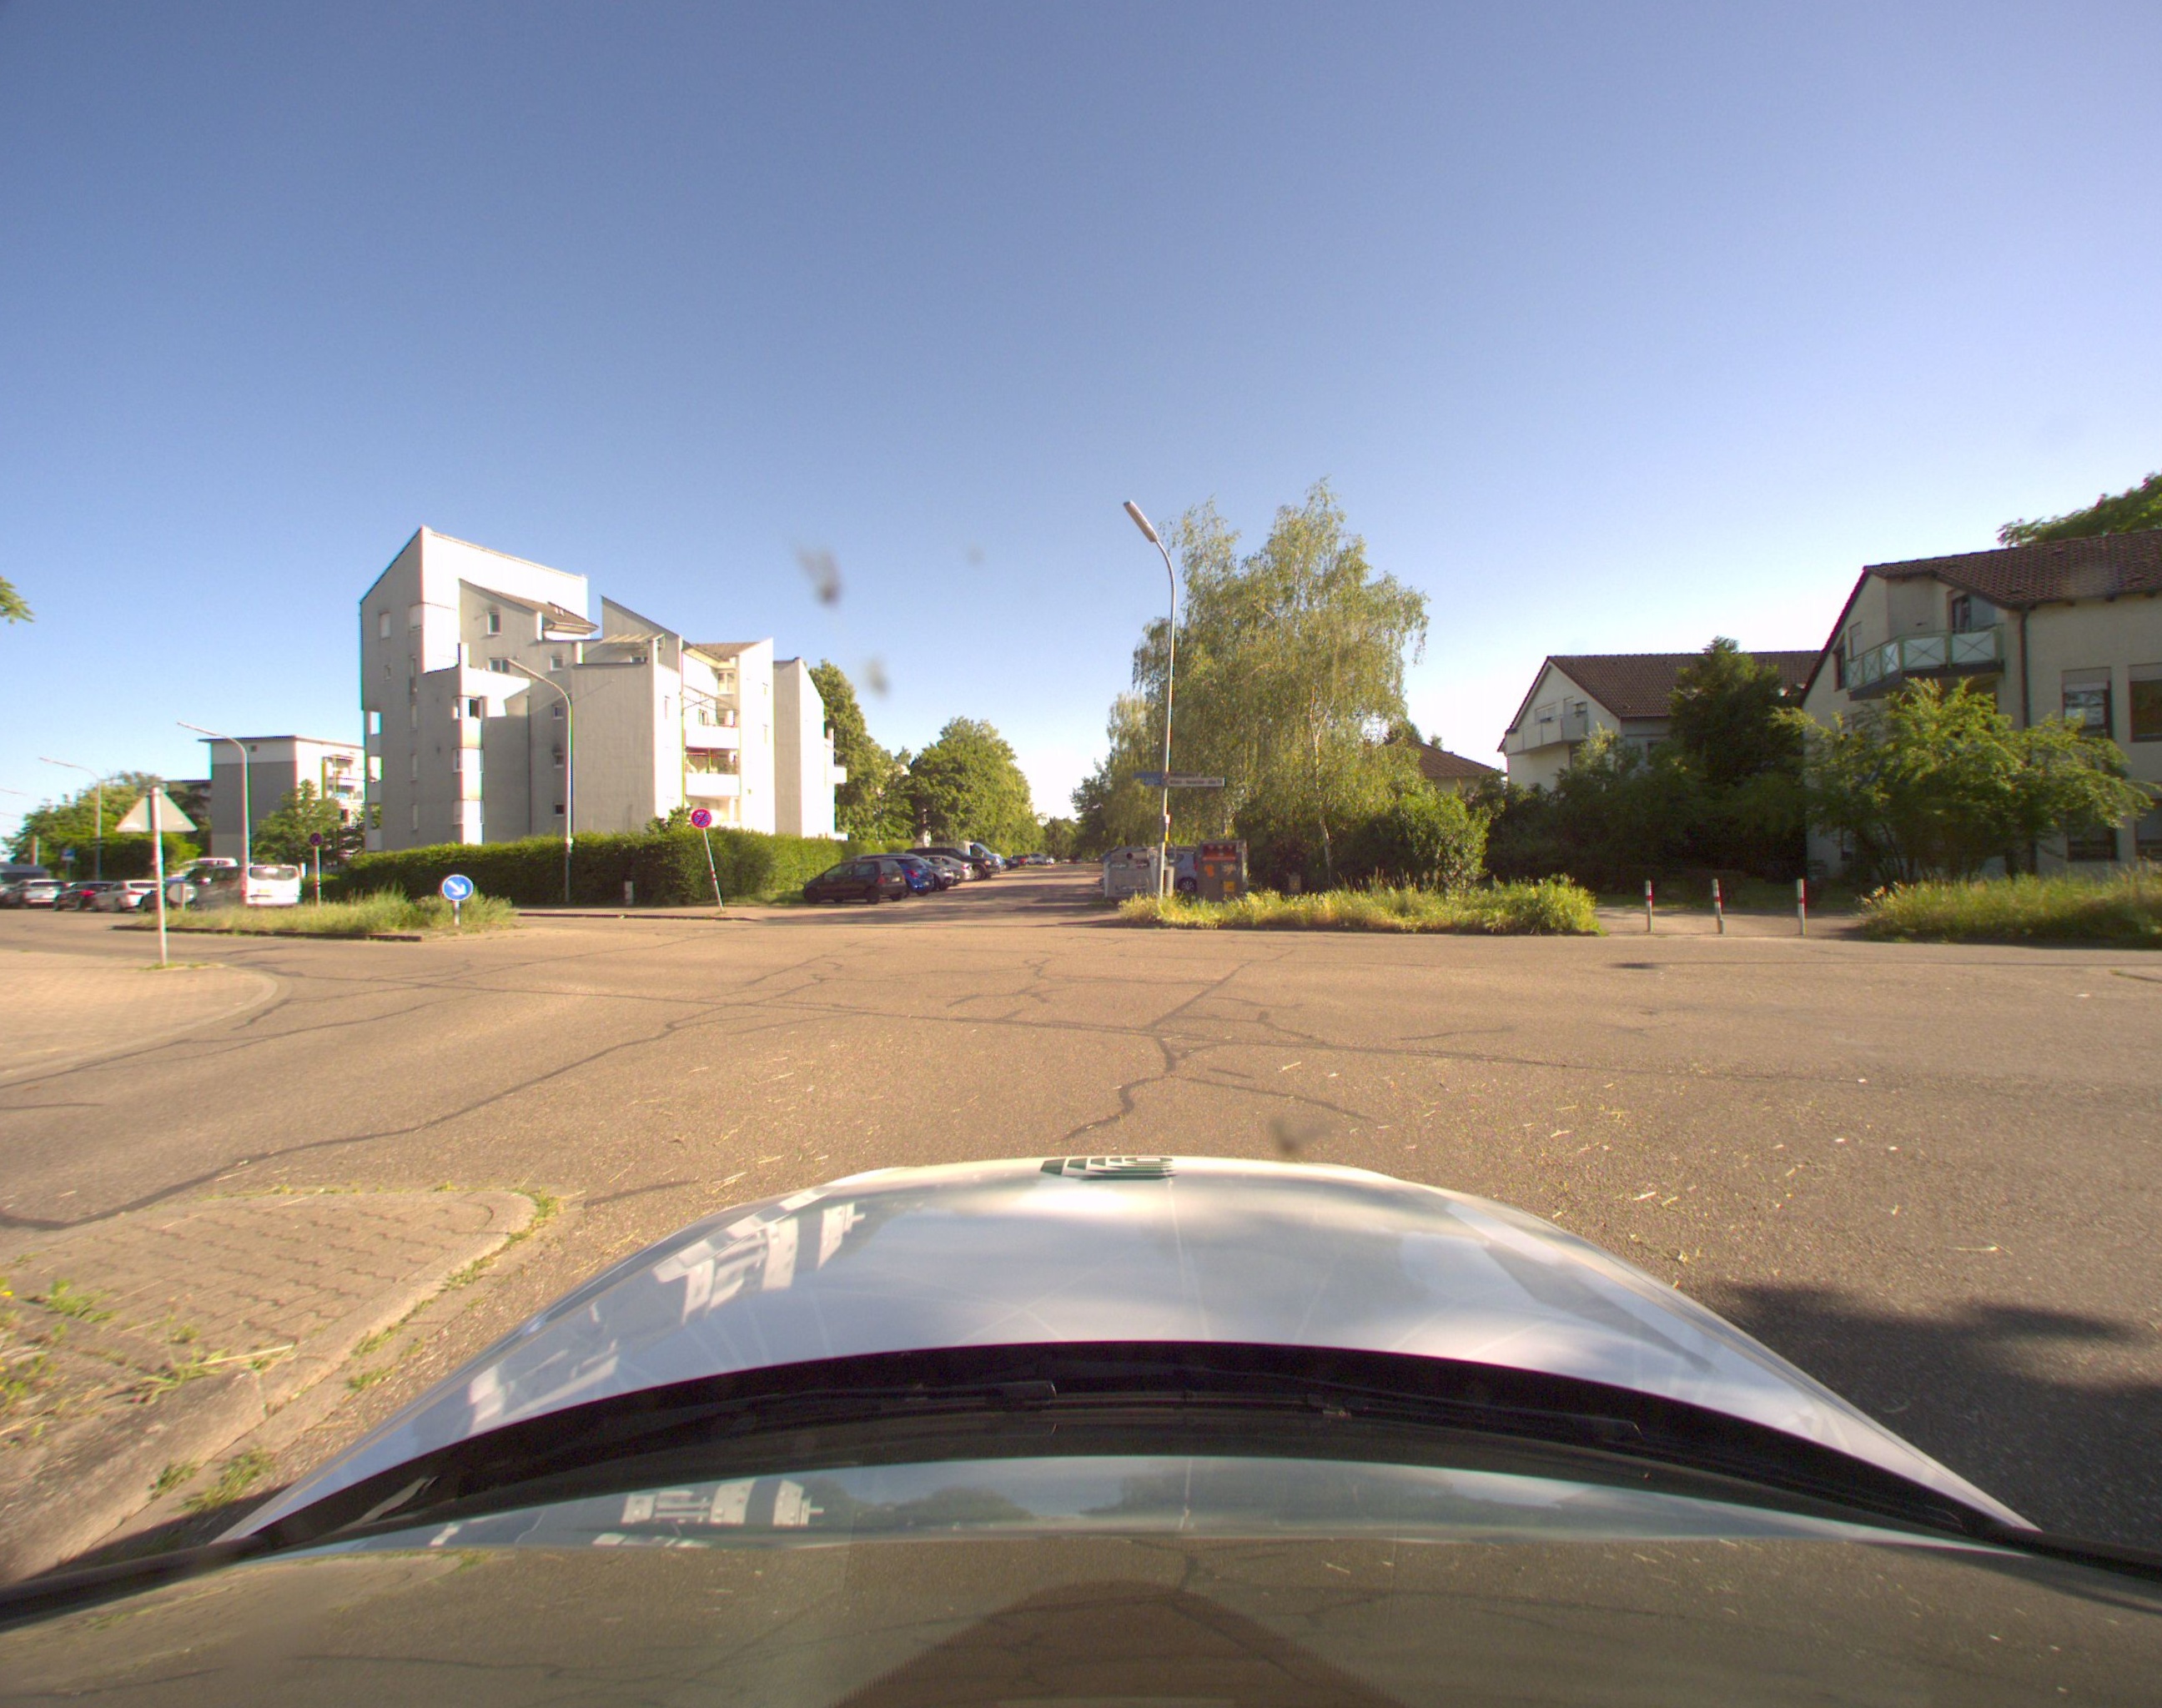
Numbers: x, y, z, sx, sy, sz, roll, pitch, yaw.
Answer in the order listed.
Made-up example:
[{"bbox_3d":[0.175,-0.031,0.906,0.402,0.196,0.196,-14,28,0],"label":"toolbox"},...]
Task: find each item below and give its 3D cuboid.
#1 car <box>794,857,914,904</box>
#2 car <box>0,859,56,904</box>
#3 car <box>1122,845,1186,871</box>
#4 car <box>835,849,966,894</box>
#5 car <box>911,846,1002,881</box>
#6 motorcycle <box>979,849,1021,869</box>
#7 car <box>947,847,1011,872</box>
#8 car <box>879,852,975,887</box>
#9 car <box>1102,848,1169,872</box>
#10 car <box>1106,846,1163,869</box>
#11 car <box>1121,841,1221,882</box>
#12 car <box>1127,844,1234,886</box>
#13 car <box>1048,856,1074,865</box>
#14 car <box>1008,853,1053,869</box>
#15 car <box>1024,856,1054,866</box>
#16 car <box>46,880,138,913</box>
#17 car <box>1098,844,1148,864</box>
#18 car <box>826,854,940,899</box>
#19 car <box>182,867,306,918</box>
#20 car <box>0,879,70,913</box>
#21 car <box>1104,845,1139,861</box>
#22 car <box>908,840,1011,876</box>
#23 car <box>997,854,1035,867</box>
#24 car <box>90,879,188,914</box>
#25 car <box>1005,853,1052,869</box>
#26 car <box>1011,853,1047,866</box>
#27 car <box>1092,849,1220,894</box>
[{"bbox_3d":[-7.677,0.887,27.606,3.494,1.466,1.712,-1,1,18],"label":"car"},{"bbox_3d":[-61.784,1.609,47.129,5.781,2.486,2.124,-2,-2,29],"label":"car"},{"bbox_3d":[4.661,0.265,51.937,3.968,1.585,1.800,-1,-1,4],"label":"car"},{"bbox_3d":[-7.497,0.711,34.056,4.965,1.654,1.788,-2,0,7],"label":"car"},{"bbox_3d":[-6.701,0.515,44.035,4.499,1.771,1.850,-1,0,6],"label":"car"},{"bbox_3d":[-6.508,0.398,65.468,3.178,1.596,0.924,-1,0,3],"label":"motorcycle"},{"bbox_3d":[-7.661,0.391,61.309,4.504,1.771,1.848,-1,0,2],"label":"car"},{"bbox_3d":[-7.158,0.714,38.112,4.131,1.455,1.619,-2,0,-1],"label":"car"},{"bbox_3d":[3.288,0.361,48.885,3.968,1.401,1.800,-1,0,4],"label":"car"},{"bbox_3d":[3.800,0.261,57.626,3.968,1.585,1.800,-1,-1,4],"label":"car"},{"bbox_3d":[3.923,0.300,35.781,4.097,1.706,1.788,-1,1,-5],"label":"car"},{"bbox_3d":[3.949,0.422,32.817,4.044,1.603,1.789,-1,1,-4],"label":"car"},{"bbox_3d":[-2.971,0.915,120.943,3.632,1.212,1.847,-1,0,1],"label":"car"},{"bbox_3d":[-4.552,0.597,74.402,3.926,1.334,1.847,-1,0,1],"label":"car"},{"bbox_3d":[-5.725,0.979,111.941,3.926,1.334,1.847,-1,0,1],"label":"car"},{"bbox_3d":[-48.712,2.077,40.107,4.320,1.488,1.927,-2,-1,26],"label":"car"},{"bbox_3d":[3.442,0.009,66.154,3.968,1.585,1.800,-1,-1,4],"label":"car"},{"bbox_3d":[-7.300,0.819,30.108,3.653,1.496,1.658,-2,0,14],"label":"car"},{"bbox_3d":[-34.279,1.575,33.342,4.892,1.912,2.011,-2,-1,25],"label":"car"},{"bbox_3d":[-56.897,2.264,44.019,4.320,1.666,1.927,-2,-1,26],"label":"car"},{"bbox_3d":[4.724,-0.107,94.705,3.968,1.708,1.800,-1,-1,4],"label":"car"},{"bbox_3d":[-7.830,0.221,52.918,6.237,2.147,2.410,-1,0,-1],"label":"car"},{"bbox_3d":[-7.002,0.693,88.521,3.926,1.334,1.847,-1,0,1],"label":"car"},{"bbox_3d":[-43.609,1.955,37.686,4.320,1.488,1.927,-2,-1,26],"label":"car"},{"bbox_3d":[-4.578,0.597,71.190,3.926,1.334,1.847,-1,0,1],"label":"car"},{"bbox_3d":[-5.850,0.641,91.869,3.926,1.334,1.847,-1,0,1],"label":"car"},{"bbox_3d":[2.542,0.570,27.361,4.023,1.439,1.641,0,0,14],"label":"car"}]
